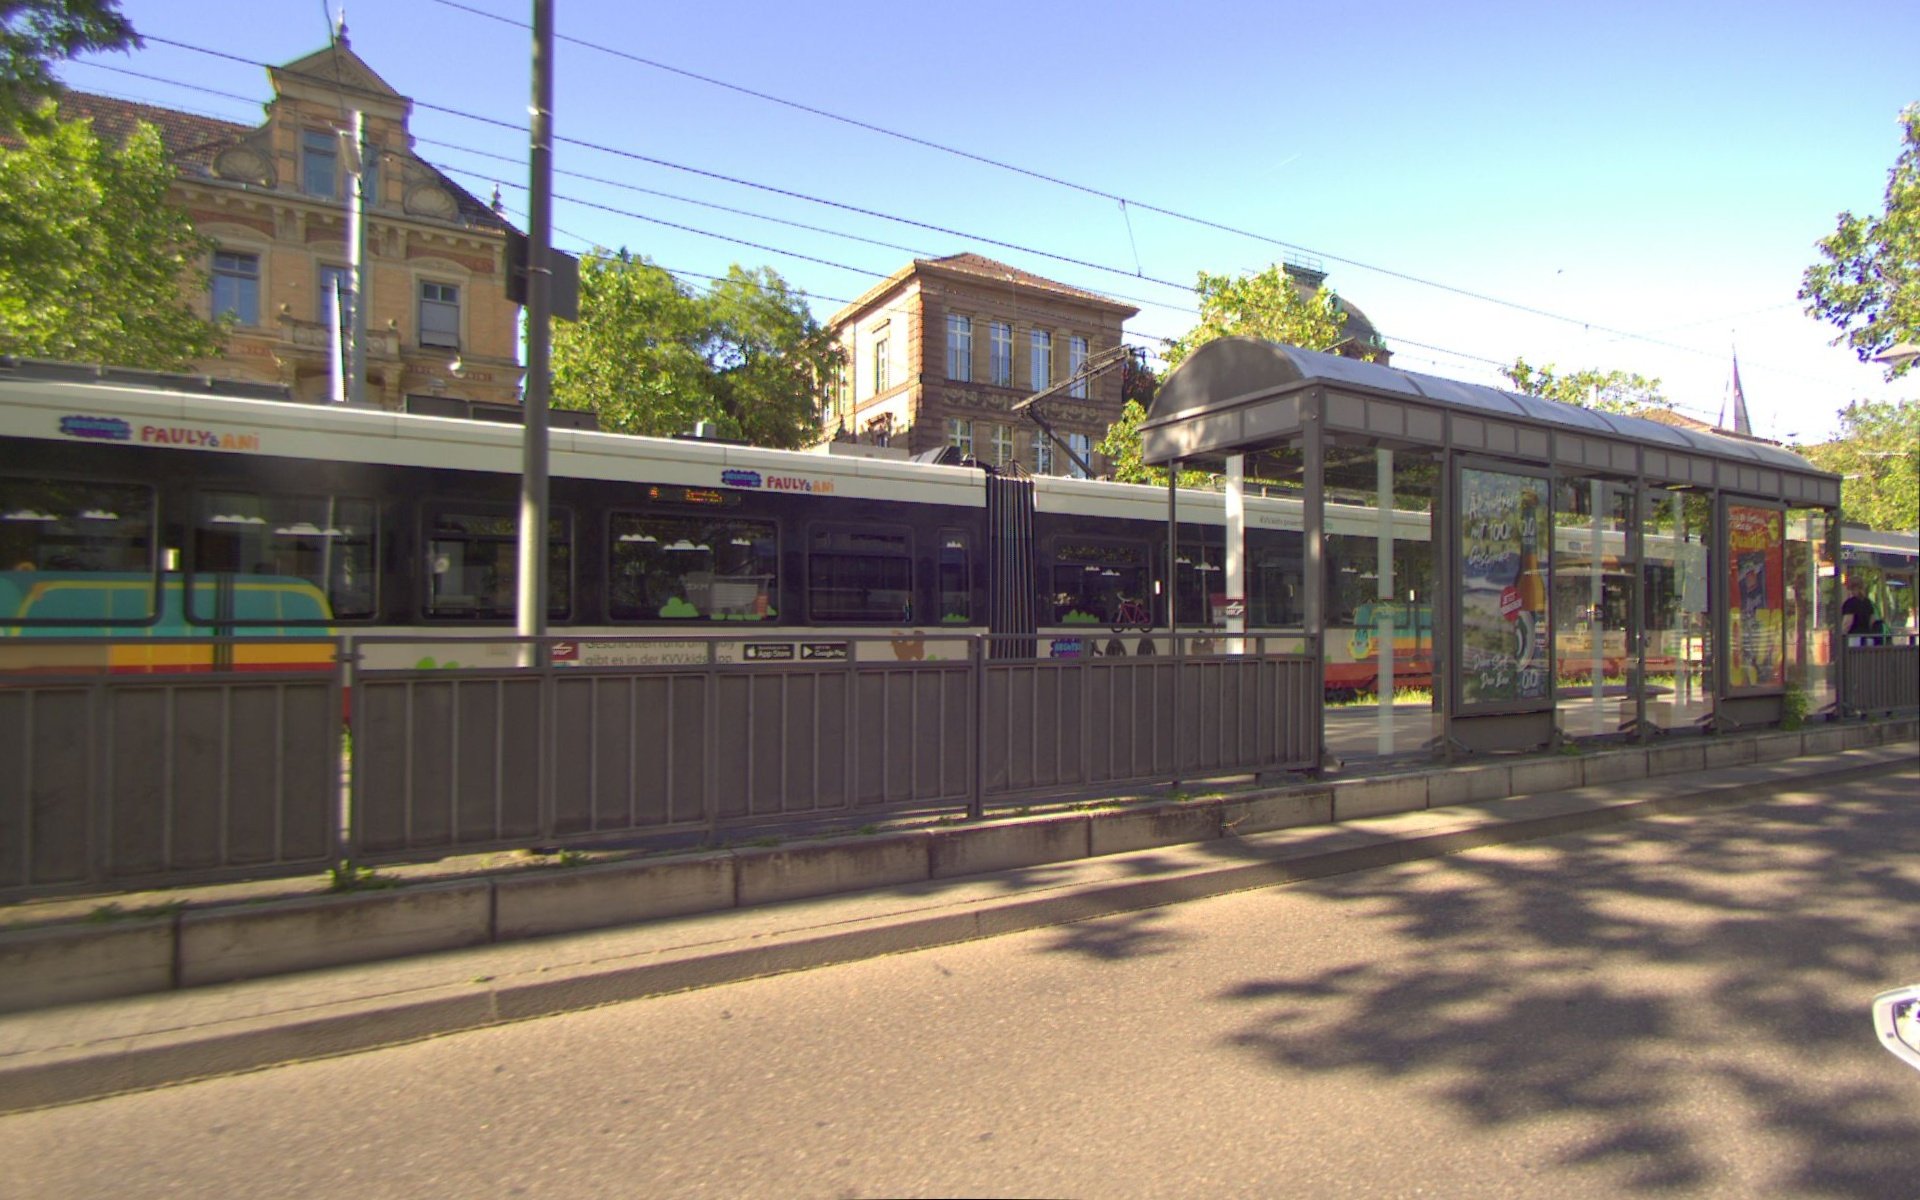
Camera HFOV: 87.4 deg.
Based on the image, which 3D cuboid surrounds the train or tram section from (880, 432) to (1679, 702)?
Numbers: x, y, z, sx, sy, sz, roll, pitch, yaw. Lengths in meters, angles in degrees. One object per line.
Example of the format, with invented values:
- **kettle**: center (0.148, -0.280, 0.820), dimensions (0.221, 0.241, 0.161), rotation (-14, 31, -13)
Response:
- **train or tram section**: center (7.263, -0.273, 18.730), dimensions (17.999, 3.480, 2.835), rotation (1, 0, -30)

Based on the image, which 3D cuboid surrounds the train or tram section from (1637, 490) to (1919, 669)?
- **train or tram section**: center (21.770, -0.116, 23.874), dimensions (15.709, 3.303, 2.900), rotation (2, 0, -31)

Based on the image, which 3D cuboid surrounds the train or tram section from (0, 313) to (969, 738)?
- **train or tram section**: center (-8.403, -0.614, 9.585), dimensions (18.059, 3.480, 2.857), rotation (1, 0, -30)

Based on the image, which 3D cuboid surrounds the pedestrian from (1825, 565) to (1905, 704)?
- **pedestrian**: center (11.202, 0.419, 12.436), dimensions (0.614, 1.661, 0.564), rotation (1, 0, -28)

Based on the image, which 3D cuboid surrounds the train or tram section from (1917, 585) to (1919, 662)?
- **train or tram section**: center (34.100, 0.416, 31.163), dimensions (12.961, 3.303, 2.900), rotation (2, 0, -31)
